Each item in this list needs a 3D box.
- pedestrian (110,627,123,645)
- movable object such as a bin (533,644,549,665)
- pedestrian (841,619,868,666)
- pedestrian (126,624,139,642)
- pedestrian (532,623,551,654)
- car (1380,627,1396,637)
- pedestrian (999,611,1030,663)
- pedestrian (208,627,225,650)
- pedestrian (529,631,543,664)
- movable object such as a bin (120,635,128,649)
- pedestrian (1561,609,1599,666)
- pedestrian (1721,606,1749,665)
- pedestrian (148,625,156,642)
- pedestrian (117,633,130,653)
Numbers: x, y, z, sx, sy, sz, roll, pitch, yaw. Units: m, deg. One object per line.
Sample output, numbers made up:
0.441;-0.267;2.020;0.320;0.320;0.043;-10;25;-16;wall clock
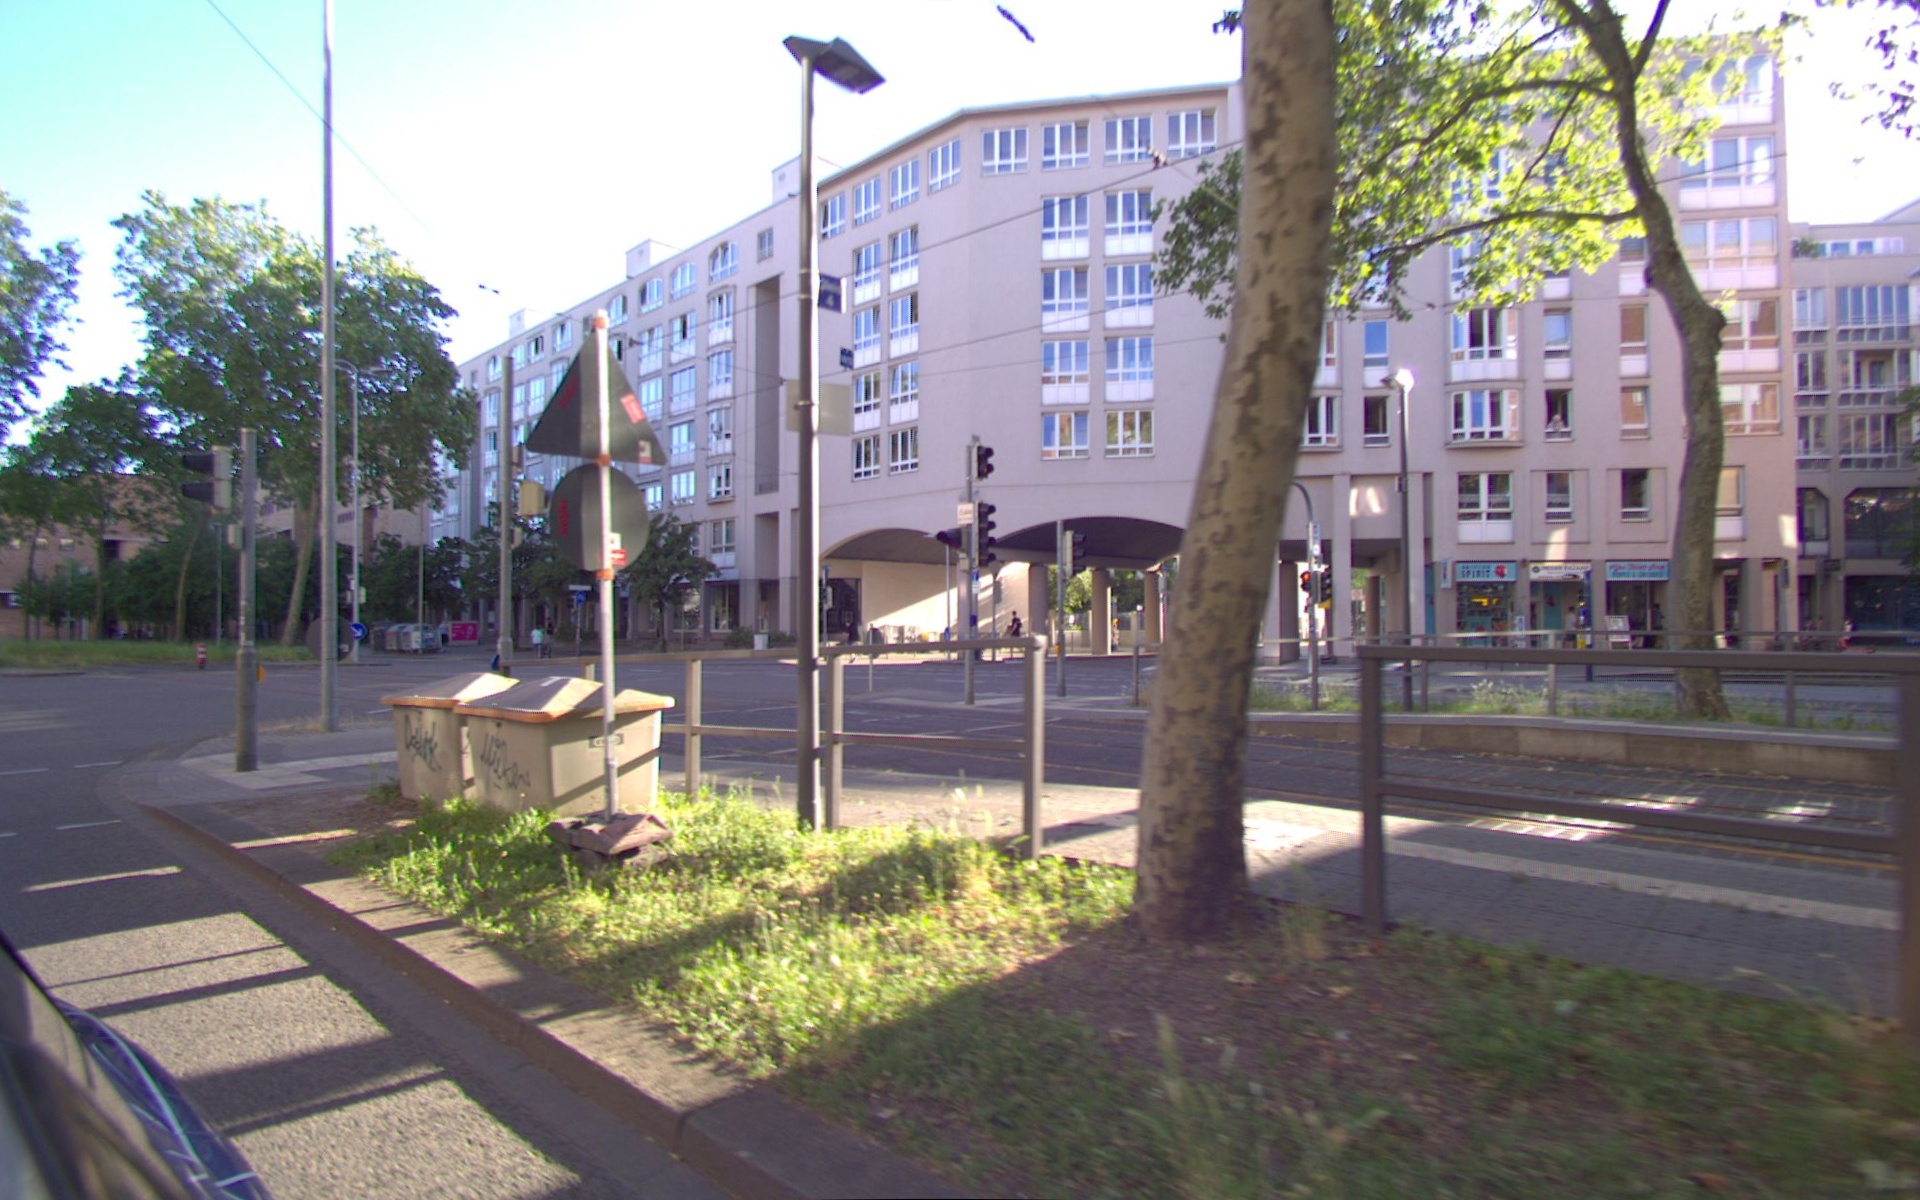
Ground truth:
-76.293;3.269;91.523;0.754;1.629;0.658;-1;-2;33;pedestrian
-18.980;2.466;45.835;0.504;0.960;0.540;1;-2;-43;movable object such as a bin
-4.302;1.745;41.348;0.748;1.884;0.850;-1;-2;28;pedestrian
-74.577;2.953;91.200;0.754;1.629;0.658;-1;-2;33;pedestrian
-23.007;2.113;55.670;0.789;1.651;0.699;-2;-2;45;pedestrian
58.909;4.394;139.352;1.679;1.406;3.617;-1;-2;30;car
2.152;1.445;40.039;0.886;2.029;0.826;-2;-2;39;pedestrian
-60.133;3.141;81.822;0.899;1.845;0.817;-2;-2;34;pedestrian
-19.447;2.182;46.453;0.525;1.515;0.622;0;-2;-28;pedestrian
-74.420;3.751;90.109;0.754;1.289;0.353;-1;-2;33;movable object such as a bin
21.286;1.280;34.759;0.746;1.957;0.827;1;-2;-32;pedestrian
26.701;1.214;34.860;0.662;2.029;0.609;-2;-2;44;pedestrian
-73.672;3.039;92.294;0.463;1.517;0.478;-2;-2;40;pedestrian
-74.858;3.851;90.532;0.794;1.735;0.658;-1;-2;33;pedestrian
